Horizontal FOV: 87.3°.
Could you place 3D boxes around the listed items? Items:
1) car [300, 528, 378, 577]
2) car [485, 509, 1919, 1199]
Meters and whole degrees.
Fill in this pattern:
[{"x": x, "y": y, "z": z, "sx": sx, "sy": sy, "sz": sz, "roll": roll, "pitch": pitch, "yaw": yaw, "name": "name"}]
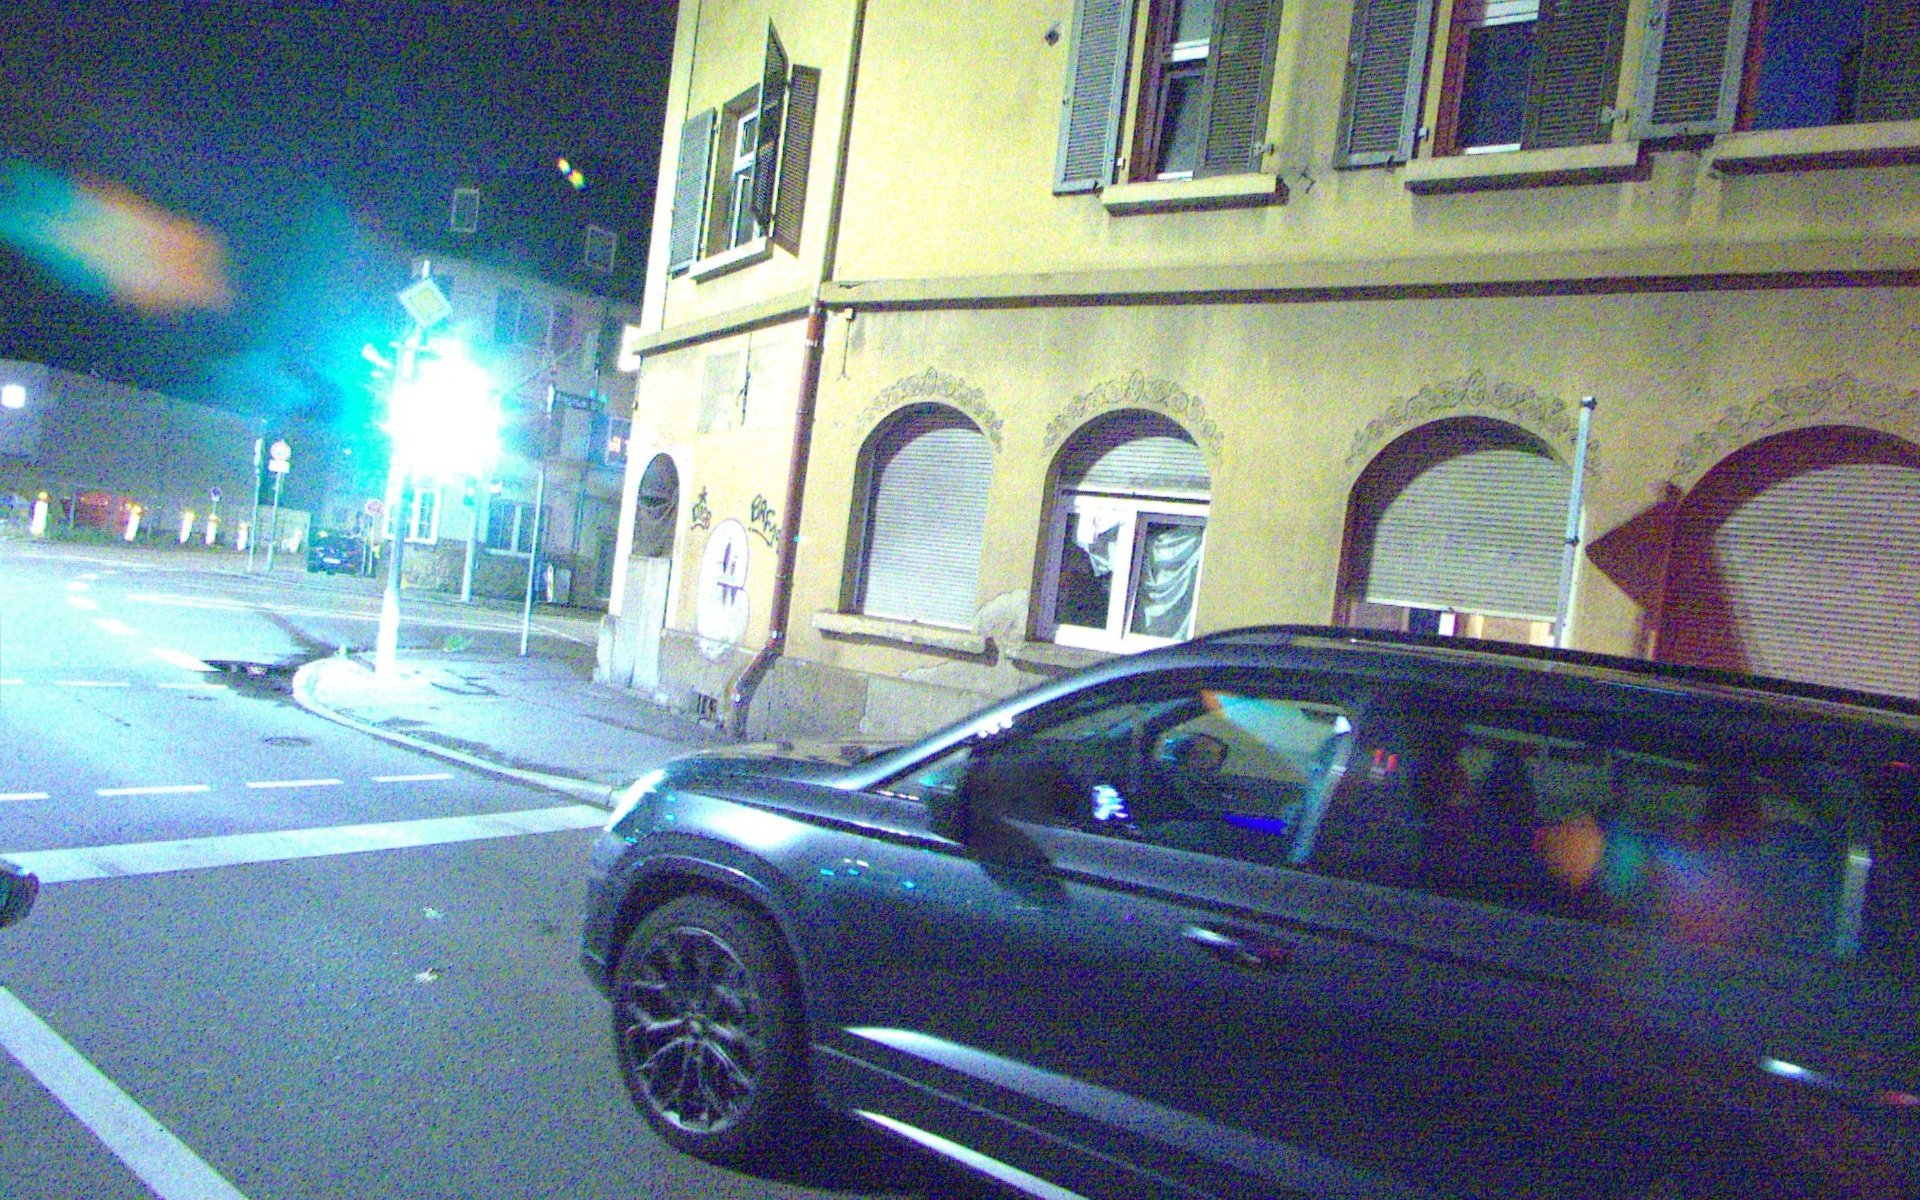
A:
[{"x": -24.453, "y": -1.825, "z": 39.727, "sx": 1.708, "sy": 1.631, "sz": 3.610, "roll": 7, "pitch": -1, "yaw": -19, "name": "car"}, {"x": 0.895, "y": 0.790, "z": 2.681, "sx": 4.157, "sy": 1.629, "sz": 1.674, "roll": 6, "pitch": -1, "yaw": 29, "name": "car"}]
